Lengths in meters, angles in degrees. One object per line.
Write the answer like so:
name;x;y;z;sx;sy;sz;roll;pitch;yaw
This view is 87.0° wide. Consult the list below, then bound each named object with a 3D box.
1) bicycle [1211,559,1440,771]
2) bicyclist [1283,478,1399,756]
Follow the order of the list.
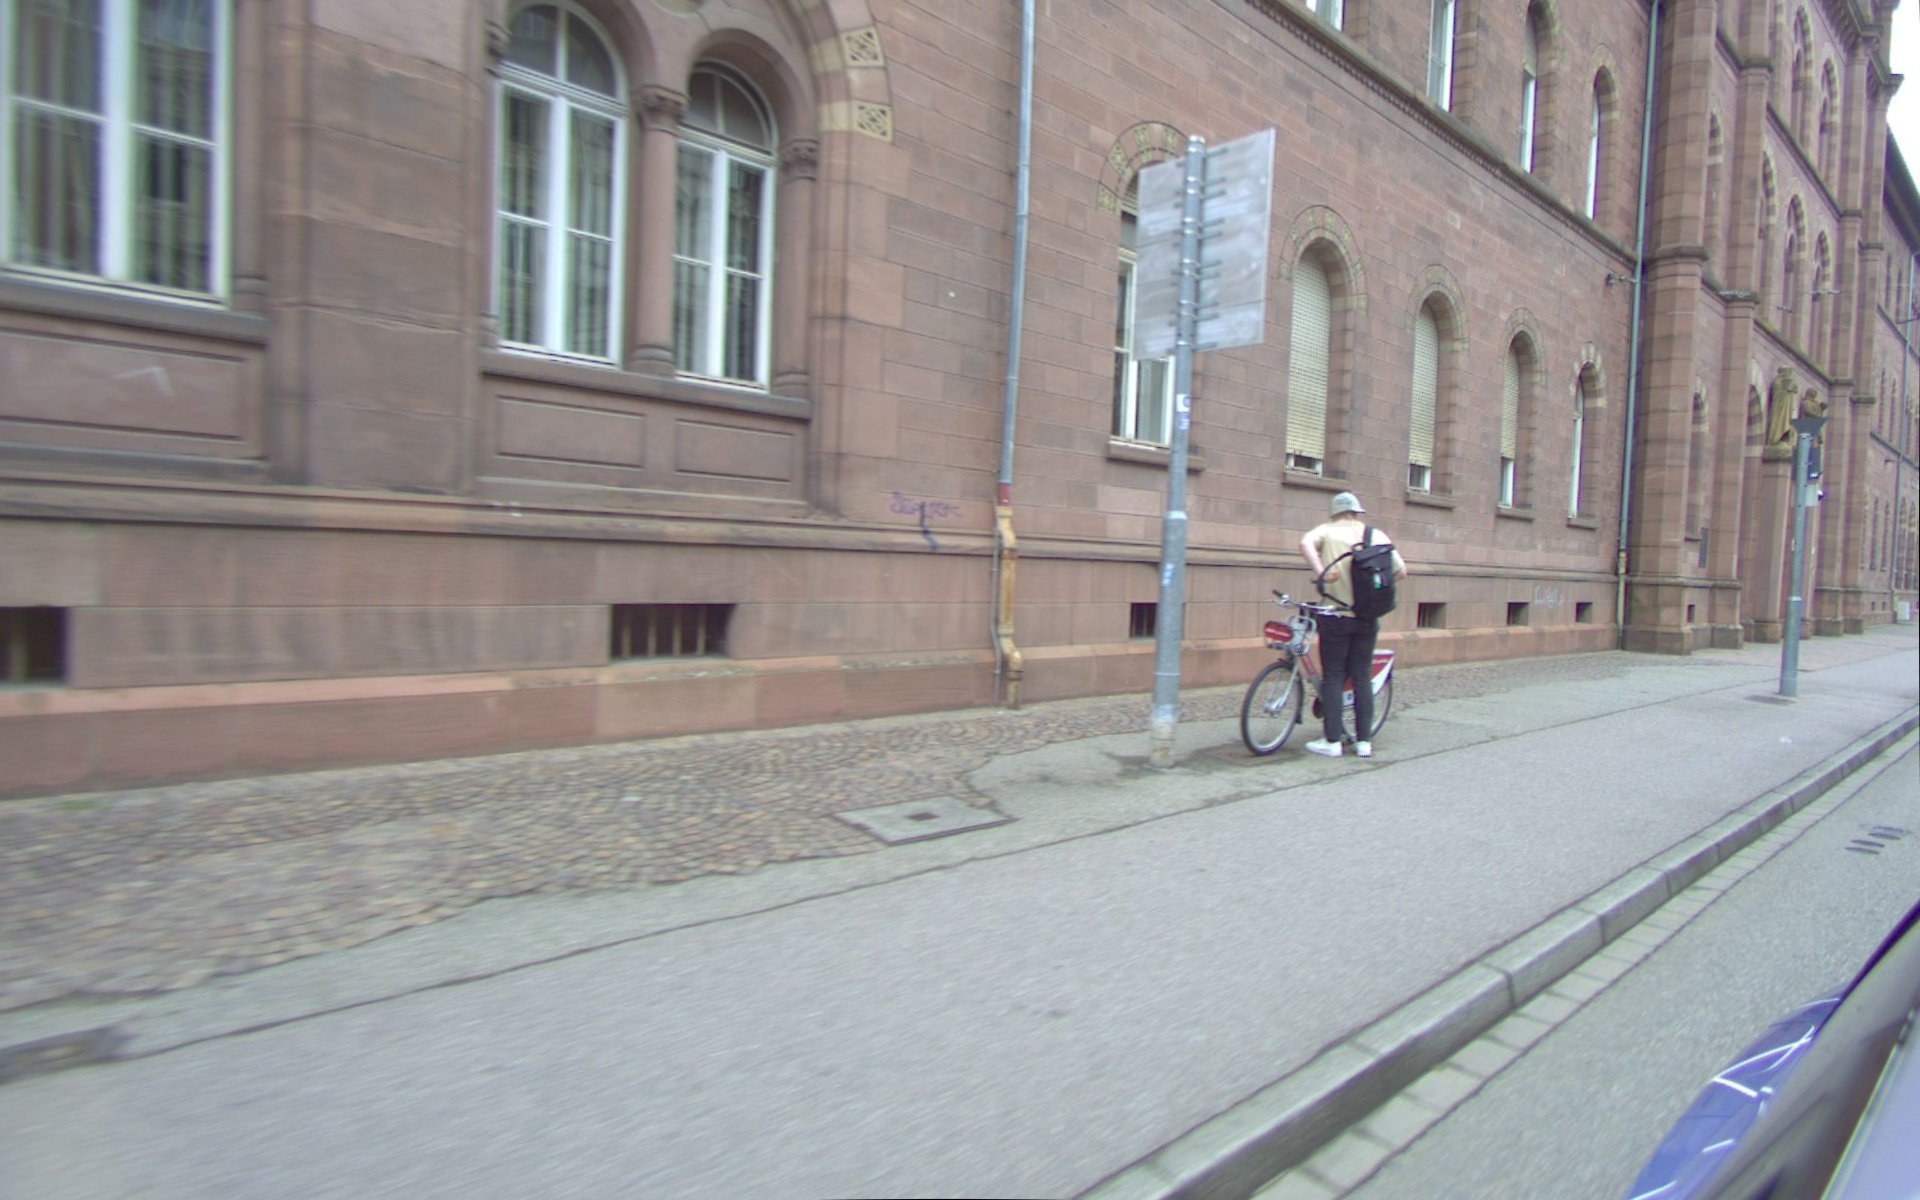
bicycle;2.634;0.387;7.128;2.188;1.291;0.446;-1;5;-42
bicyclist;2.697;0.098;7.179;0.443;1.880;0.530;0;4;-41
